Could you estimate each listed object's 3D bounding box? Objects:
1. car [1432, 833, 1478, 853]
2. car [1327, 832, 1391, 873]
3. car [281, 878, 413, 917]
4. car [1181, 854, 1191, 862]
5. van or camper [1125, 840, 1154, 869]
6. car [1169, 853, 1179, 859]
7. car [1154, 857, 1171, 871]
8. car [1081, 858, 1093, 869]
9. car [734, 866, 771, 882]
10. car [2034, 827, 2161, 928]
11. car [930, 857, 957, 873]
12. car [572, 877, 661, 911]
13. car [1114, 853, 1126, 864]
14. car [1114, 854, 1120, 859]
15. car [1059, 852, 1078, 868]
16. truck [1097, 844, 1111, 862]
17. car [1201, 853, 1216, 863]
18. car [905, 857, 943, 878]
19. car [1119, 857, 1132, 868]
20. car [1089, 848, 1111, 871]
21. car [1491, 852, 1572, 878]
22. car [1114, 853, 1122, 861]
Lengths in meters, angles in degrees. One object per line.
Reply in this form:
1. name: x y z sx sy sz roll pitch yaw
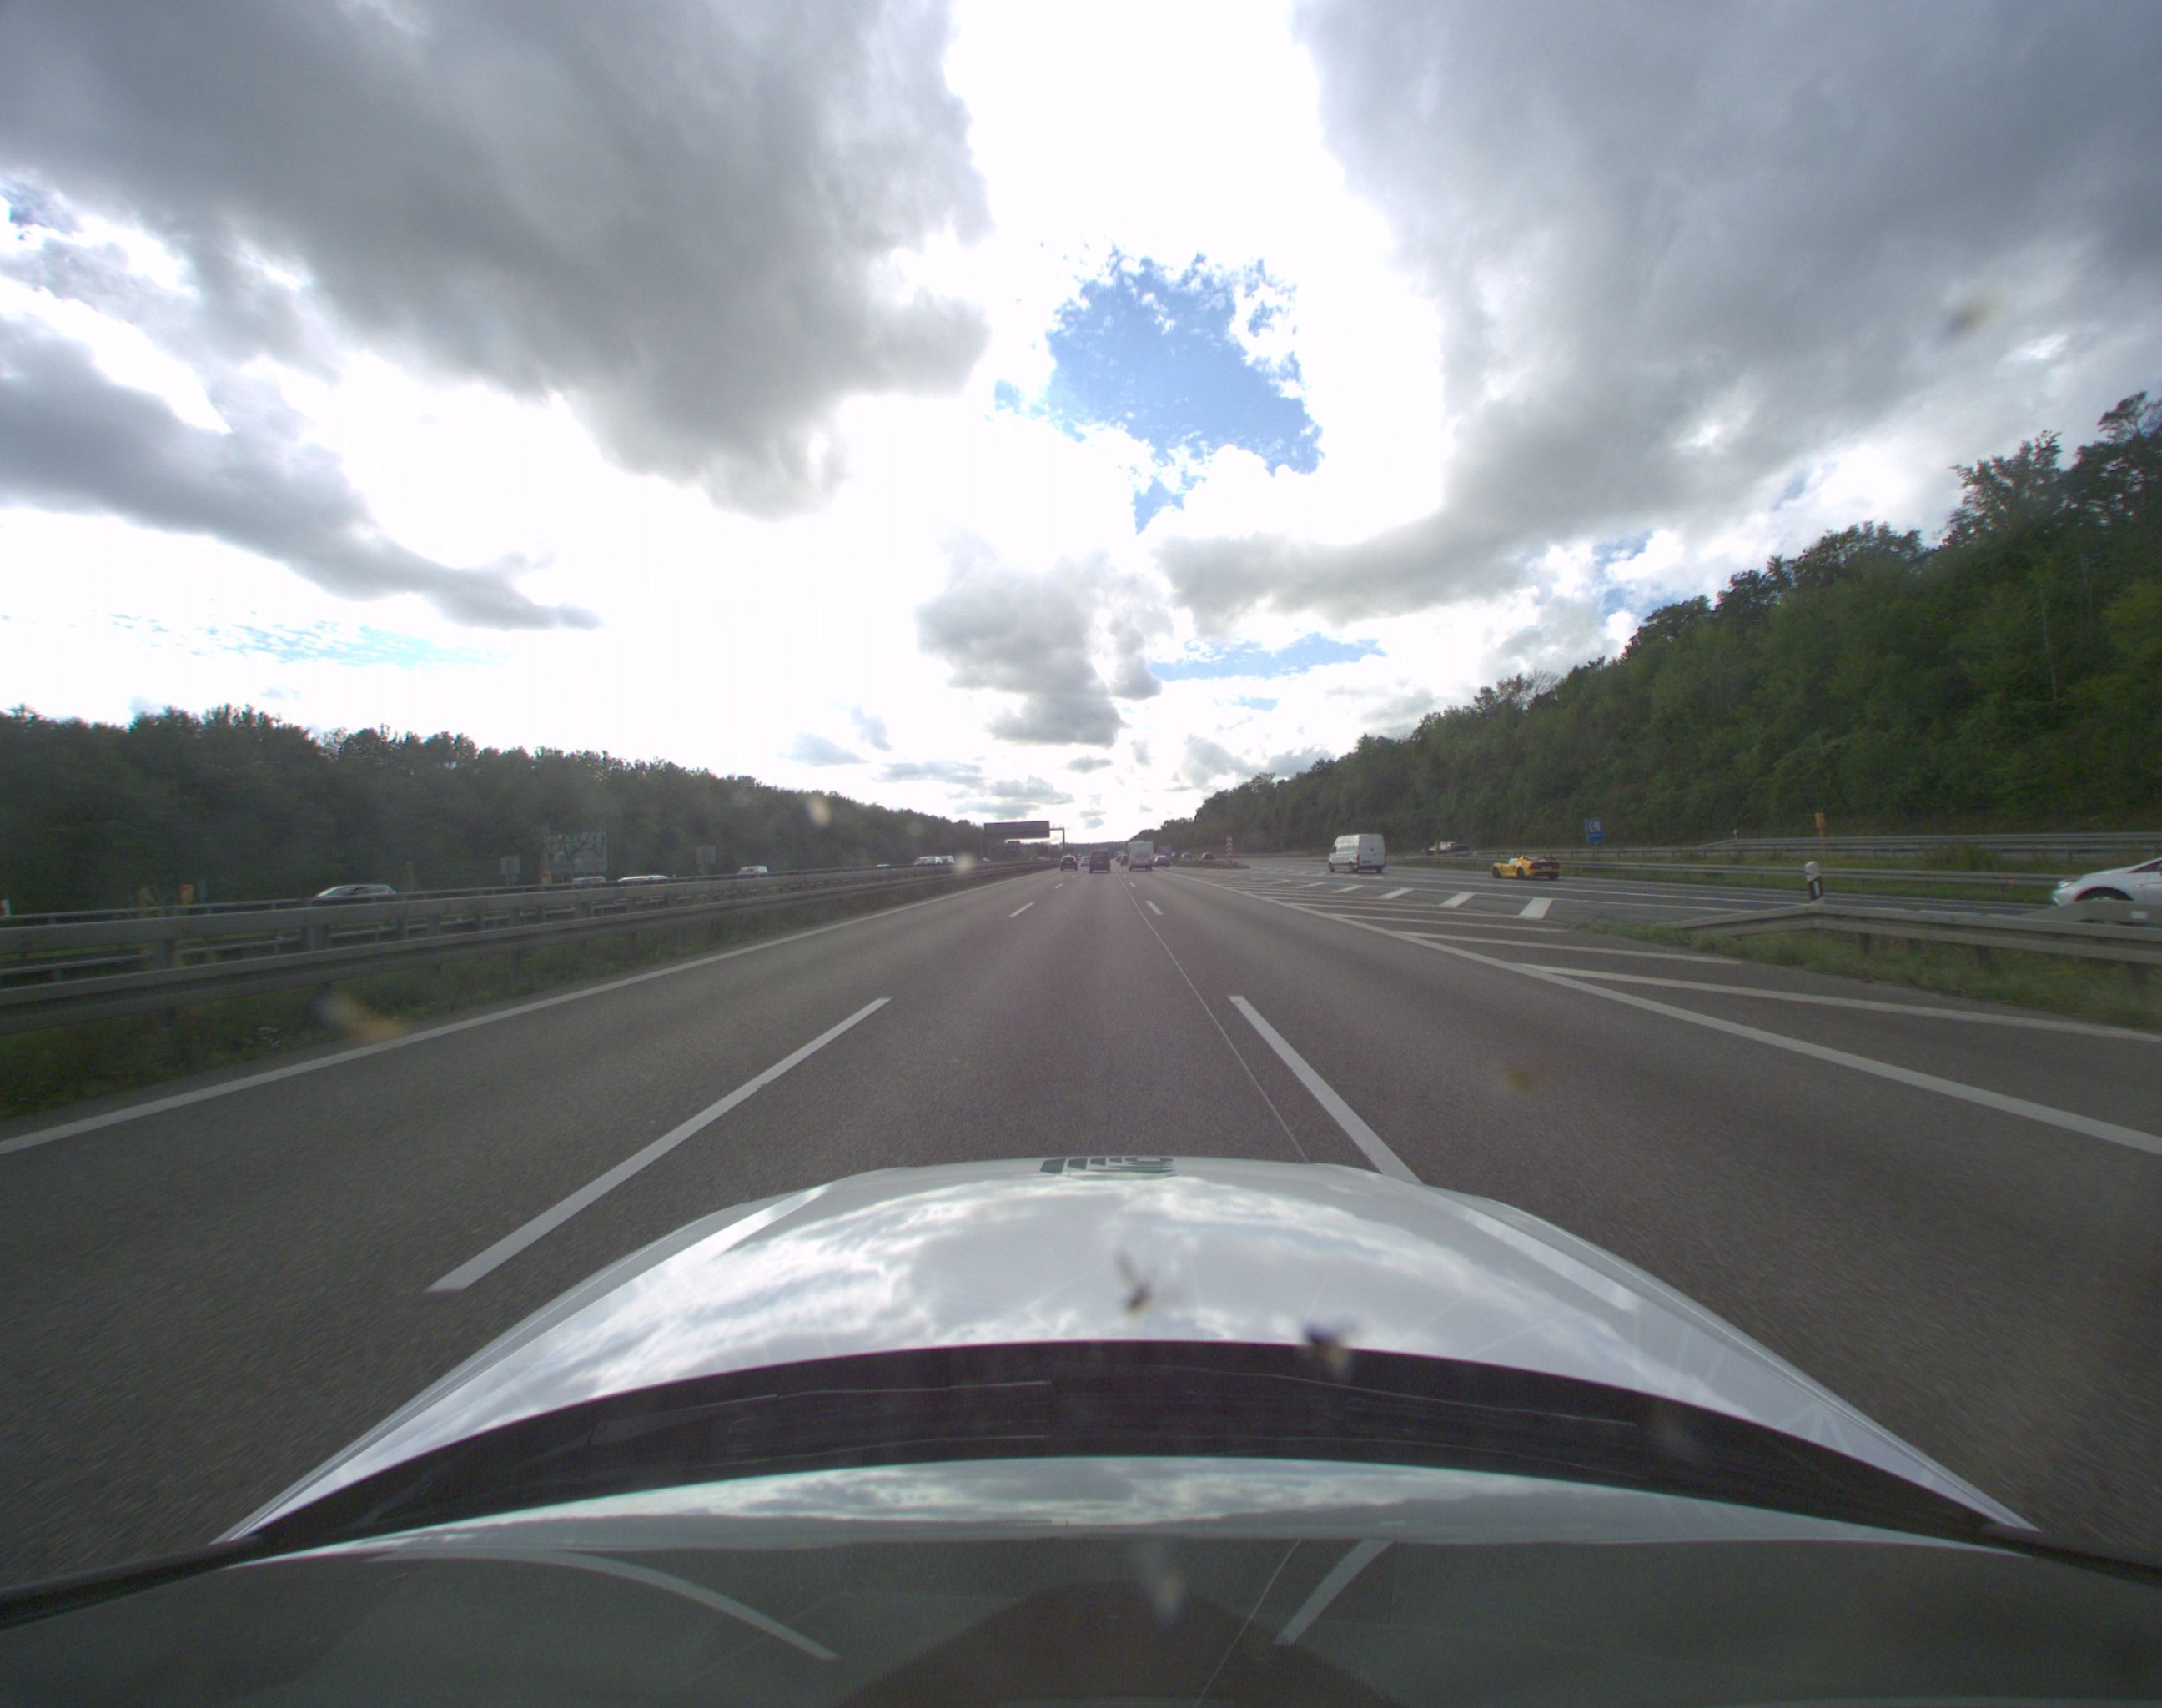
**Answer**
1. car: 32.561 -0.937 71.045 1.837 1.602 4.764 -4 0 0
2. car: 19.024 -0.079 56.153 2.063 2.554 6.741 -2 0 0
3. car: -36.502 2.129 40.711 1.803 1.636 5.012 -2 0 3
4. car: 21.405 0.787 166.420 1.535 1.484 3.943 -4 0 1
5. van or camper: 5.830 0.033 81.717 2.460 2.722 7.663 -1 0 1
6. car: 23.158 0.473 202.271 1.837 1.484 4.525 -4 0 0
7. car: 10.402 1.271 104.094 1.691 1.611 3.896 -2 0 1
8. car: 0.943 1.507 124.506 1.691 1.611 4.114 -2 0 1
9. car: -35.328 2.096 87.772 1.764 1.577 5.012 -2 0 1
10. car: 16.688 0.315 11.105 1.682 1.485 4.602 -1 0 -8
11. car: -14.587 1.157 86.633 1.803 1.636 5.012 -1 0 3
12. car: -19.730 1.660 34.768 1.519 1.219 3.876 -1 0 1
13. car: 6.177 0.667 128.802 1.807 1.601 4.002 -2 0 2
14. car: 10.794 0.752 246.807 1.746 1.695 4.191 -2 -1 1
15. car: -1.350 0.625 89.952 1.866 1.698 4.073 -2 -1 1
16. truck: 5.915 -0.189 208.112 3.250 4.375 11.031 -1 0 2
17. car: 20.949 0.575 133.743 1.836 1.484 4.527 -4 0 1
18. car: -11.483 0.977 59.822 1.728 1.480 4.204 -1 0 3
19. car: 6.346 1.173 117.336 1.691 1.564 4.114 -2 0 1
20. car: 1.694 0.486 72.737 1.848 1.910 4.261 -1 0 1
21. car: 22.061 0.495 40.068 1.706 1.181 4.169 -1 0 1
22. car: 8.880 0.771 194.951 1.906 1.919 4.031 -1 0 1
